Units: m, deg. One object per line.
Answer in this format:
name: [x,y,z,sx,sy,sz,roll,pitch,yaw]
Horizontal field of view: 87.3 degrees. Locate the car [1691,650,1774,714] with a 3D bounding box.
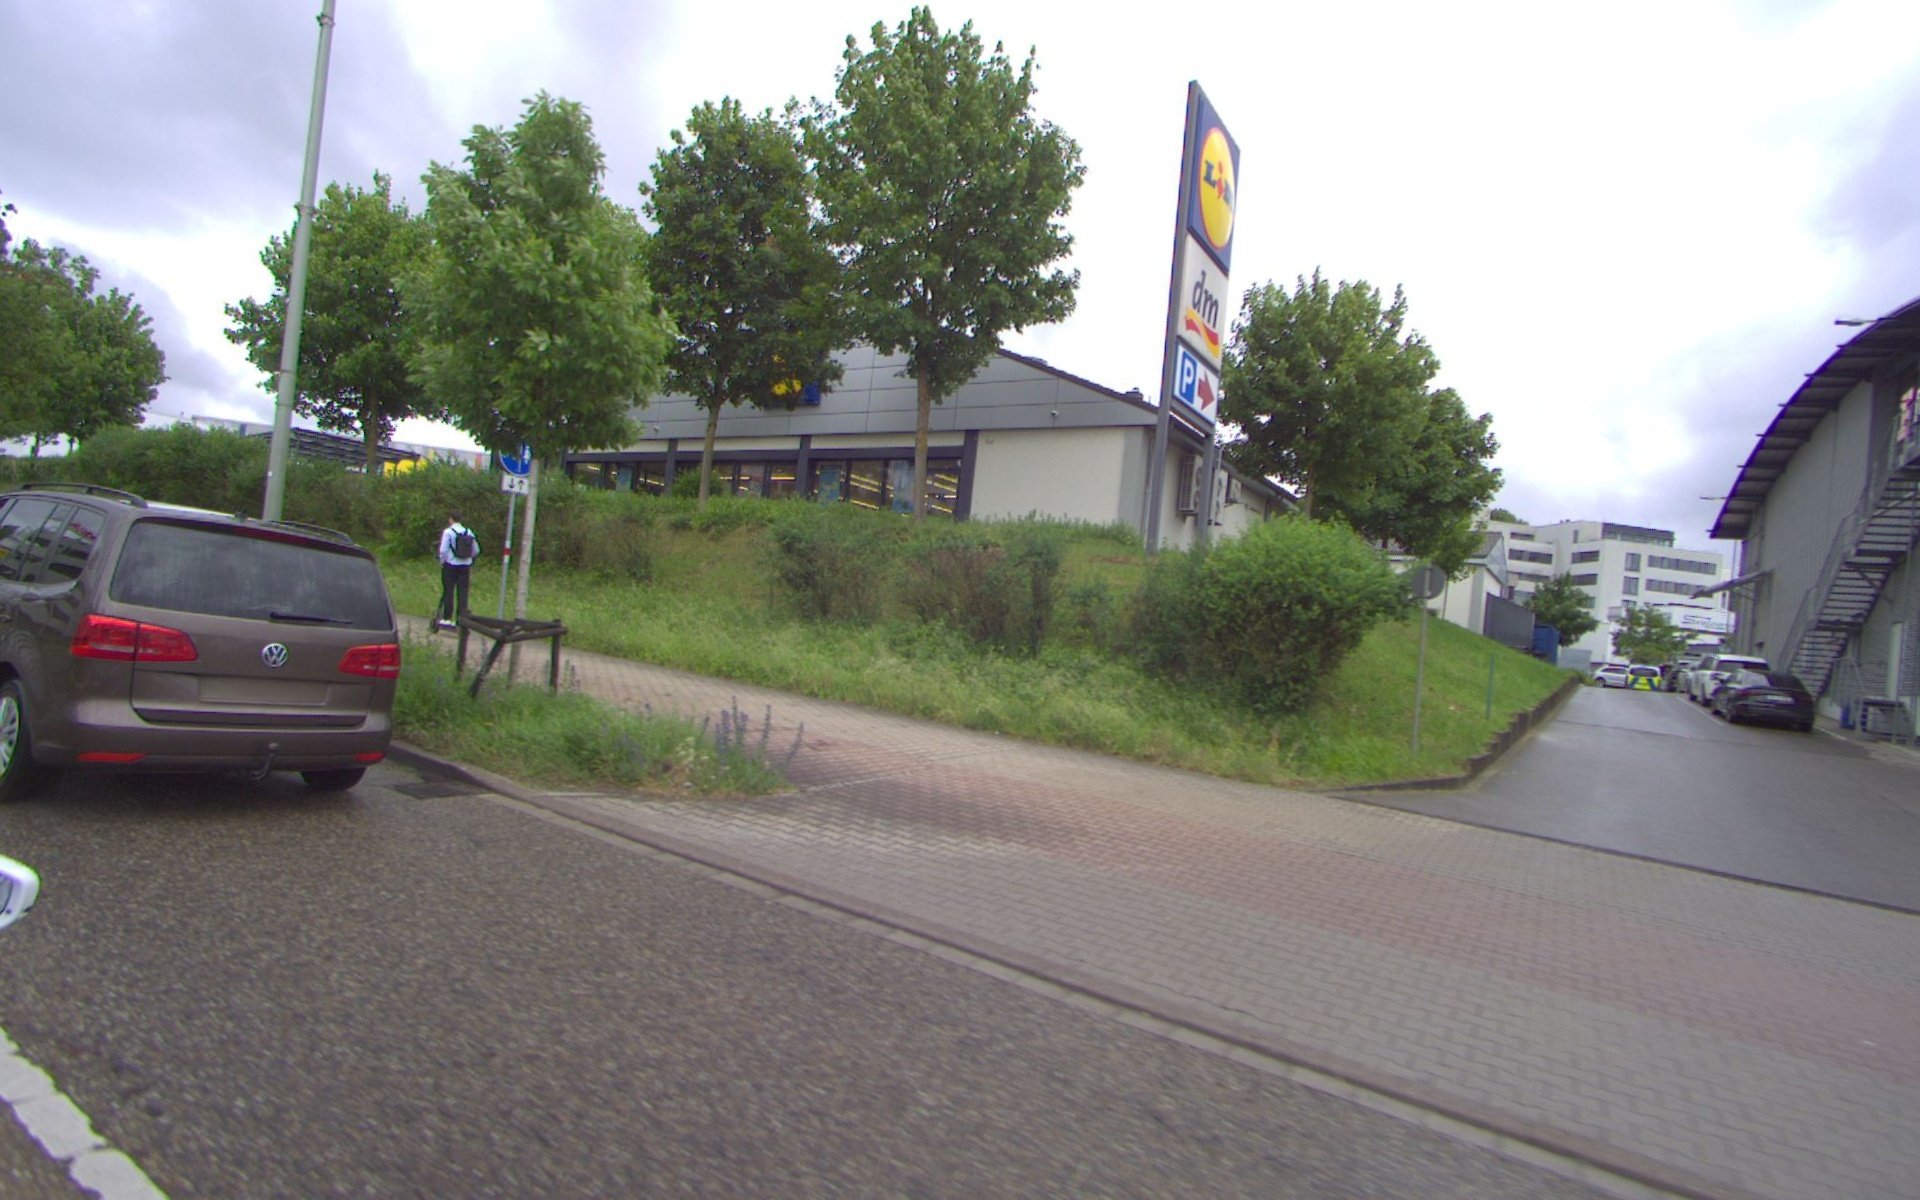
car: [24.818,2.580,32.433,1.772,1.676,3.983,6,2,35]

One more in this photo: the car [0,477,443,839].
car: [-5.344,0.180,6.314,4.149,1.598,1.689,6,-3,32]

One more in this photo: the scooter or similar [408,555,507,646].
scooter or similar: [-8.099,0.008,16.200,1.377,1.280,0.695,8,2,31]

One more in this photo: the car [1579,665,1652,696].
car: [47.090,5.745,72.315,1.673,1.619,3.969,7,0,-29]

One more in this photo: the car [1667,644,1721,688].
car: [33.742,3.003,46.339,1.772,1.676,3.983,6,2,35]

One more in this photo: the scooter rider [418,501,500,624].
scooter rider: [-8.055,-0.594,16.183,0.844,1.844,0.695,8,3,30]

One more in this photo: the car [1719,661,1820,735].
car: [21.667,2.563,27.066,1.772,1.531,3.982,6,2,36]

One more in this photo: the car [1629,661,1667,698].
car: [43.016,5.002,62.888,1.666,2.038,3.987,7,0,36]

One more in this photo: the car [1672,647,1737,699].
car: [29.264,2.836,39.656,1.772,1.676,3.983,6,2,35]
